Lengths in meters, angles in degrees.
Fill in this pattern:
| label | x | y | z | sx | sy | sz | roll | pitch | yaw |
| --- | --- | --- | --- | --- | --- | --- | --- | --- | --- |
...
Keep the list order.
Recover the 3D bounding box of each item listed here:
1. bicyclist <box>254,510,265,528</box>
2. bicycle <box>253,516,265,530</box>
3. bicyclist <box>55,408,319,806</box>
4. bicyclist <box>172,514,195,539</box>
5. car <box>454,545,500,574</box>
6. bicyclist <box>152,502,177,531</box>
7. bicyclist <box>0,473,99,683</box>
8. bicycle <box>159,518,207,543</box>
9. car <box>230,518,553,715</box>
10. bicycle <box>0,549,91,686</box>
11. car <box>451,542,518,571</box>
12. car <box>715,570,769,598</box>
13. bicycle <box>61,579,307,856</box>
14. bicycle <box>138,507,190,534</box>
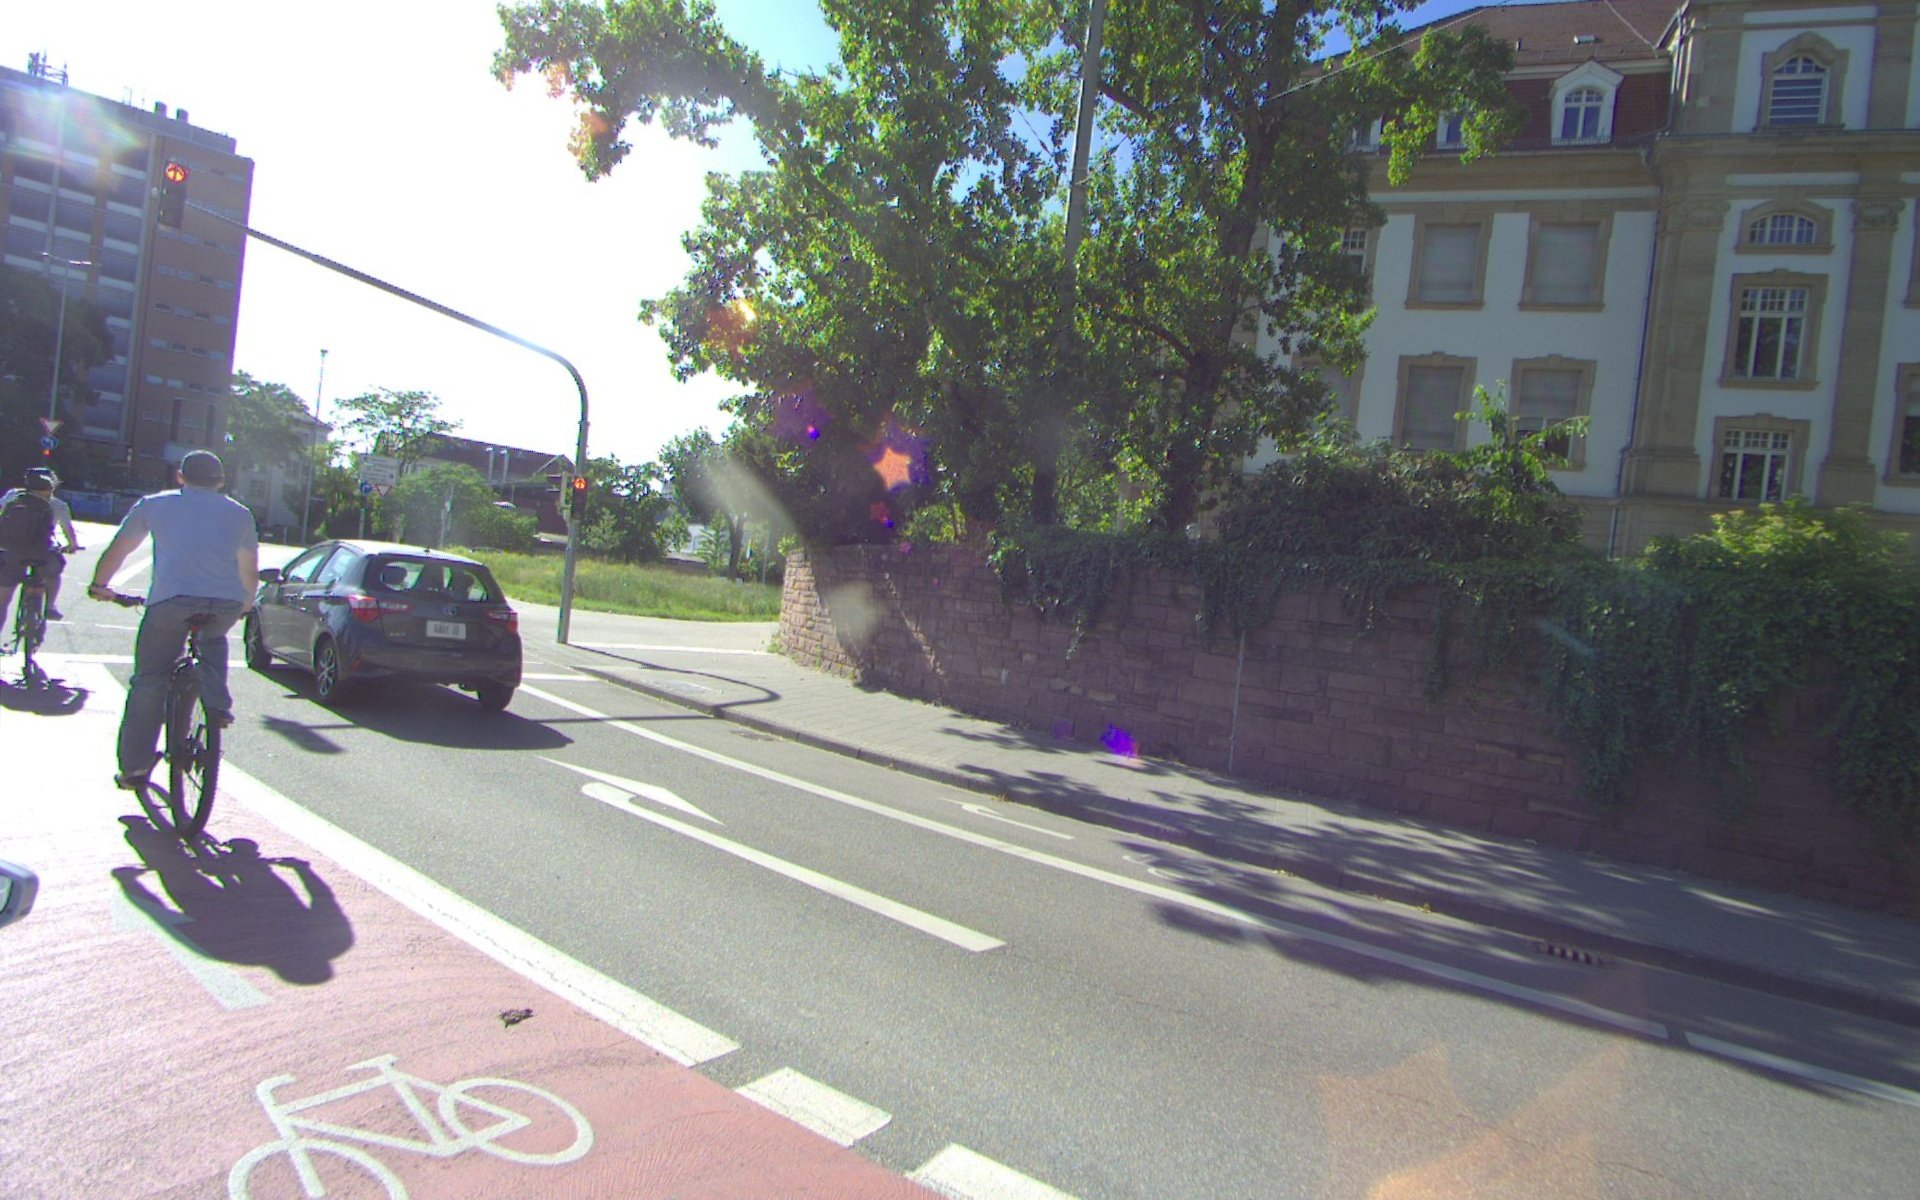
| label | x | y | z | sx | sy | sz | roll | pitch | yaw |
| --- | --- | --- | --- | --- | --- | --- | --- | --- | --- |
| bicyclist | -63.015 | -7.273 | 90.530 | 0.613 | 1.462 | 0.813 | 6 | 1 | -28 |
| bicycle | -63.042 | -6.937 | 90.518 | 0.603 | 1.106 | 1.660 | 6 | 1 | -27 |
| bicyclist | -3.946 | 0.031 | 5.125 | 1.000 | 1.797 | 0.748 | 7 | 0 | 42 |
| bicyclist | -60.664 | -5.734 | 78.617 | 1.154 | 1.818 | 0.873 | 7 | -1 | -44 |
| car | -41.223 | -3.423 | 86.011 | 1.872 | 1.958 | 3.864 | 6 | -2 | 1 |
| bicyclist | -58.740 | -6.182 | 74.317 | 1.199 | 1.919 | 0.877 | 7 | -1 | -33 |
| bicyclist | -7.895 | -0.204 | 8.512 | 0.720 | 1.645 | 1.042 | 8 | -1 | -44 |
| bicycle | -60.704 | -5.428 | 78.615 | 2.795 | 1.559 | 0.873 | 8 | -2 | -45 |
| car | -5.977 | 0.117 | 10.418 | 3.608 | 1.560 | 1.754 | 6 | -1 | 42 |
| bicycle | -8.012 | 0.106 | 8.585 | 0.721 | 0.971 | 1.860 | 8 | -1 | -44 |
| car | -34.531 | -3.154 | 73.057 | 4.200 | 1.589 | 1.810 | 5 | 1 | -30 |
| car | -19.630 | -1.433 | 90.610 | 4.310 | 2.037 | 1.988 | 7 | -2 | -27 |
| bicycle | -4.047 | 0.527 | 5.187 | 1.805 | 1.090 | 0.610 | 6 | 0 | 42 |
| bicycle | -58.790 | -5.857 | 74.319 | 2.784 | 1.559 | 0.877 | 8 | -2 | -34 |
